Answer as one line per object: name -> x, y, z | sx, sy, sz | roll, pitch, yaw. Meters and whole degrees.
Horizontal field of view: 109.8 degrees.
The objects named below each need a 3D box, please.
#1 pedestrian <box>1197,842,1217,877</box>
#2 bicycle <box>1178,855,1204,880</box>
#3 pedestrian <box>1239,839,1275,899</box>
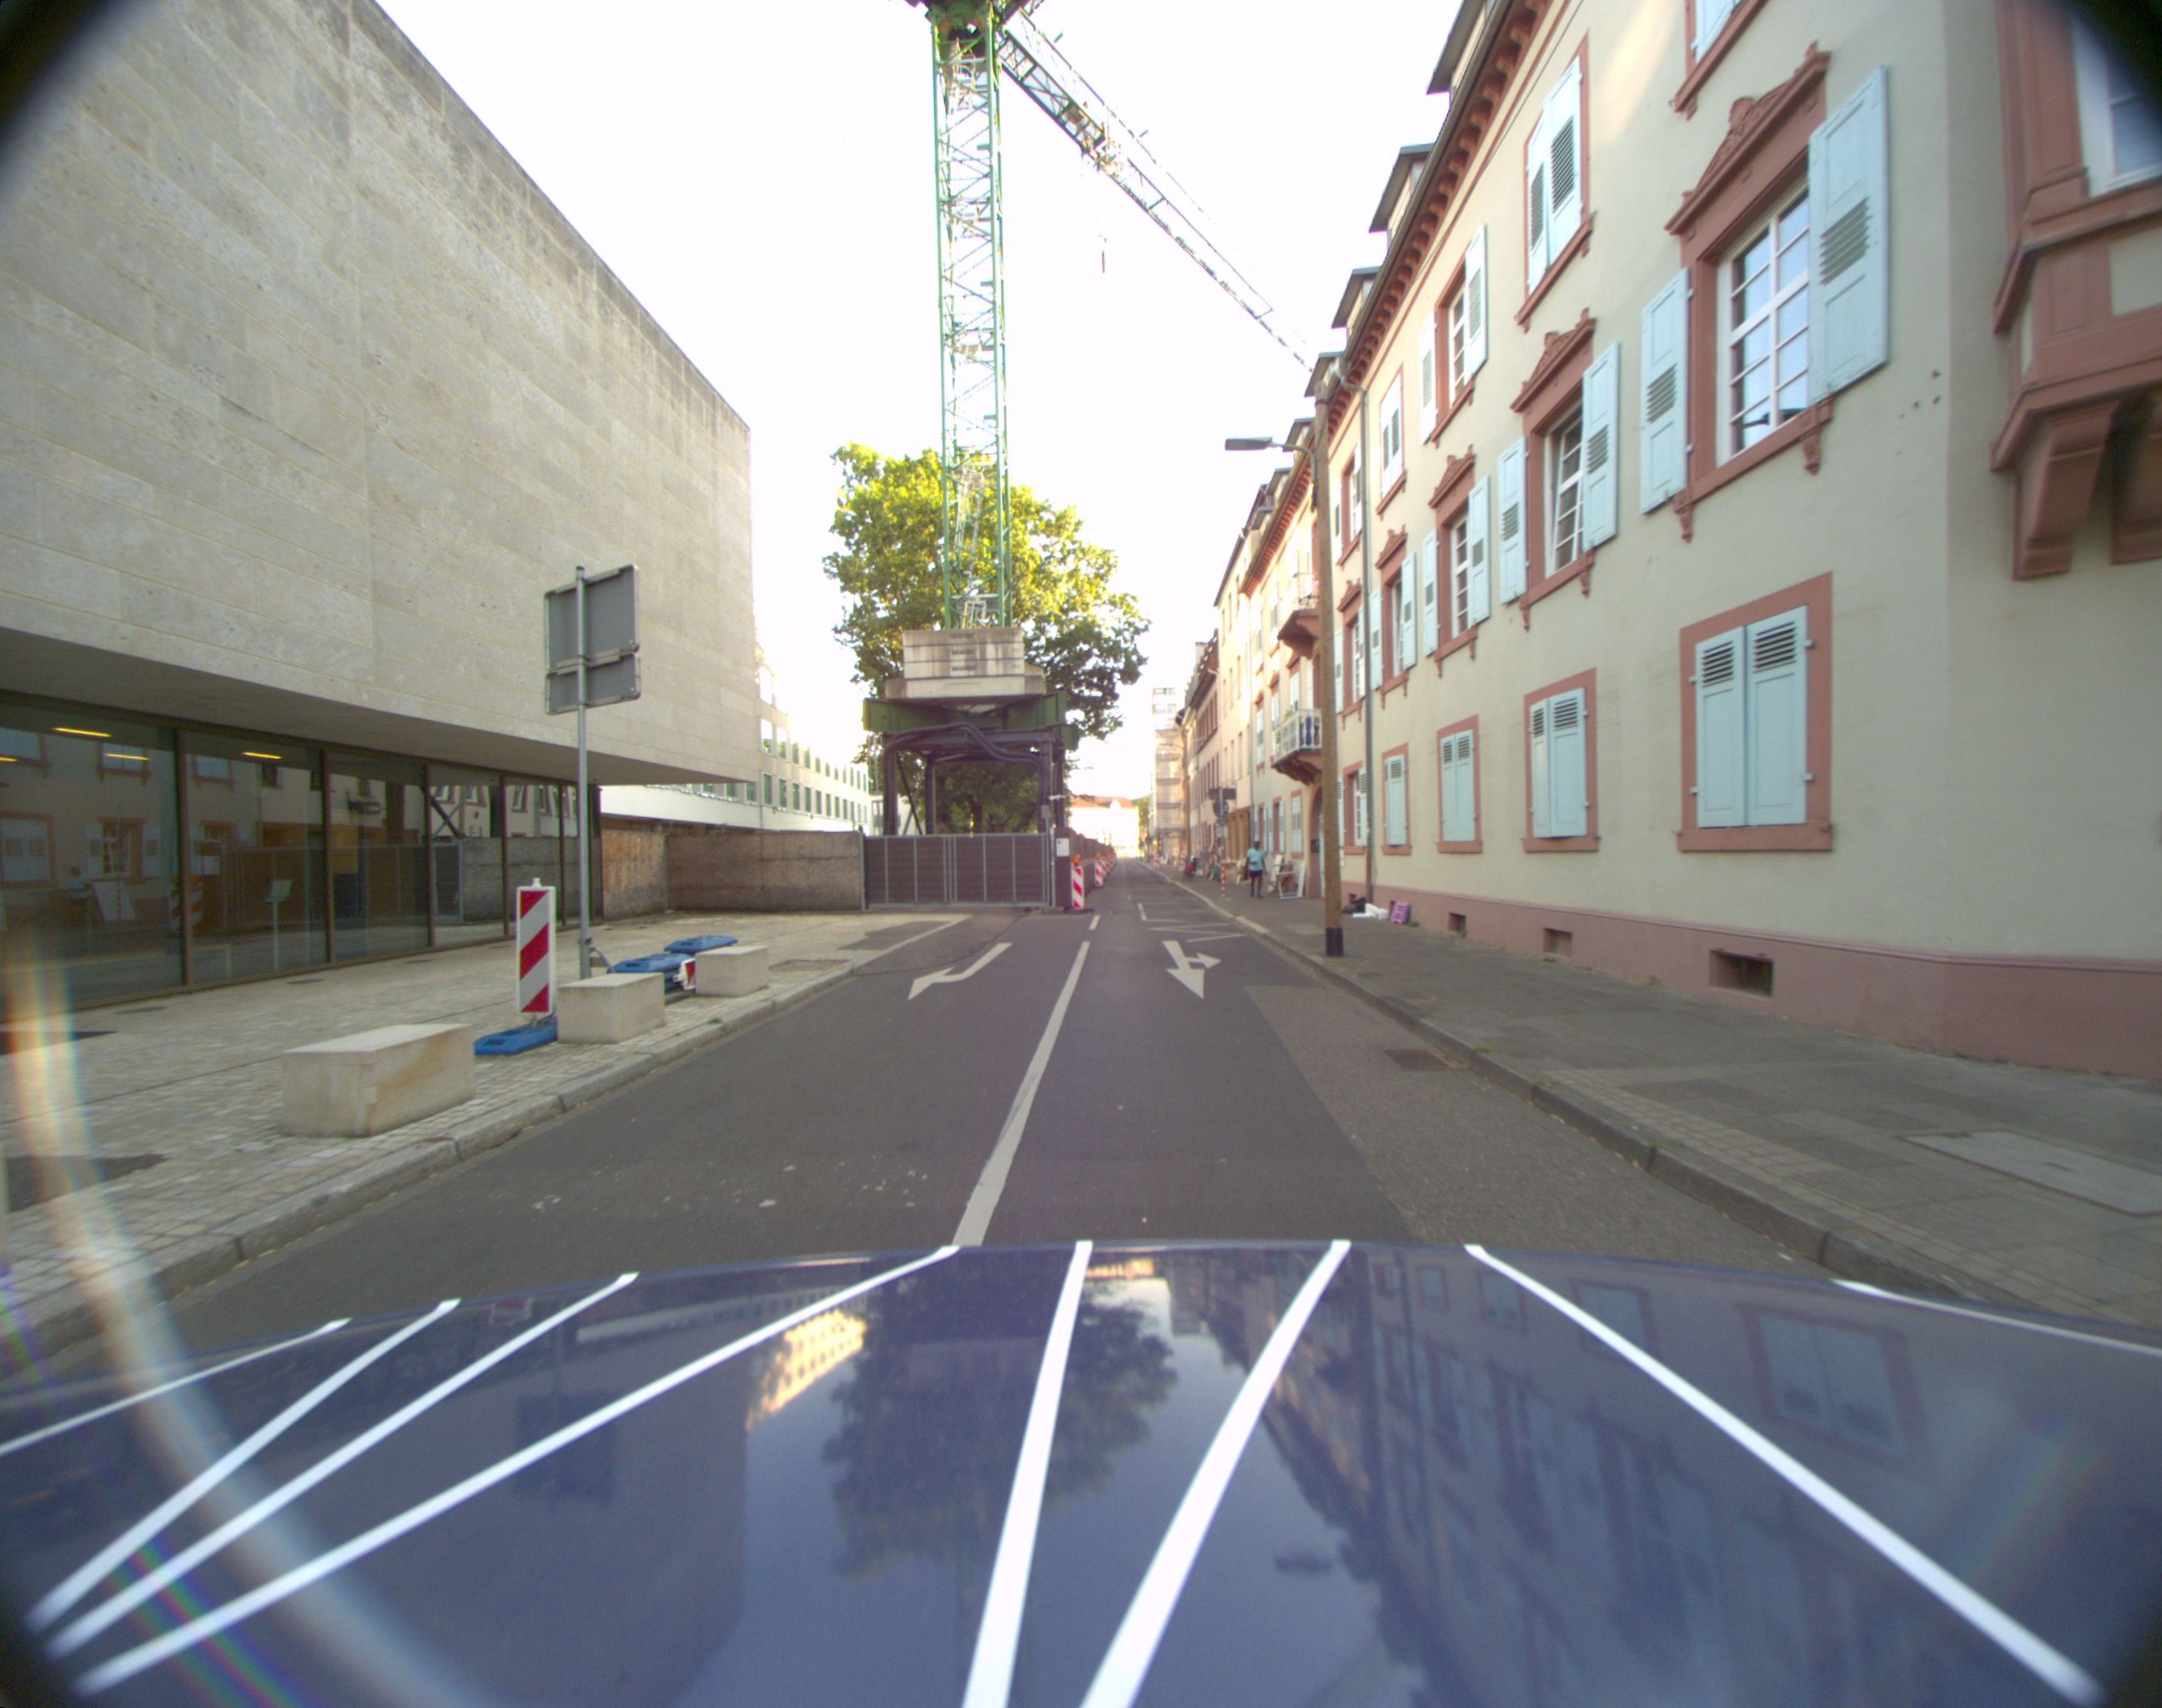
pedestrian -> 6.236, 0.274, 37.610 | 0.826, 1.687, 0.649 | -2, 1, 2
bicycle -> 5.252, 0.635, 36.140 | 0.659, 1.163, 1.611 | -2, 1, 29
pedestrian -> 5.161, 0.432, 22.301 | 0.826, 1.687, 0.649 | -4, 1, 2
